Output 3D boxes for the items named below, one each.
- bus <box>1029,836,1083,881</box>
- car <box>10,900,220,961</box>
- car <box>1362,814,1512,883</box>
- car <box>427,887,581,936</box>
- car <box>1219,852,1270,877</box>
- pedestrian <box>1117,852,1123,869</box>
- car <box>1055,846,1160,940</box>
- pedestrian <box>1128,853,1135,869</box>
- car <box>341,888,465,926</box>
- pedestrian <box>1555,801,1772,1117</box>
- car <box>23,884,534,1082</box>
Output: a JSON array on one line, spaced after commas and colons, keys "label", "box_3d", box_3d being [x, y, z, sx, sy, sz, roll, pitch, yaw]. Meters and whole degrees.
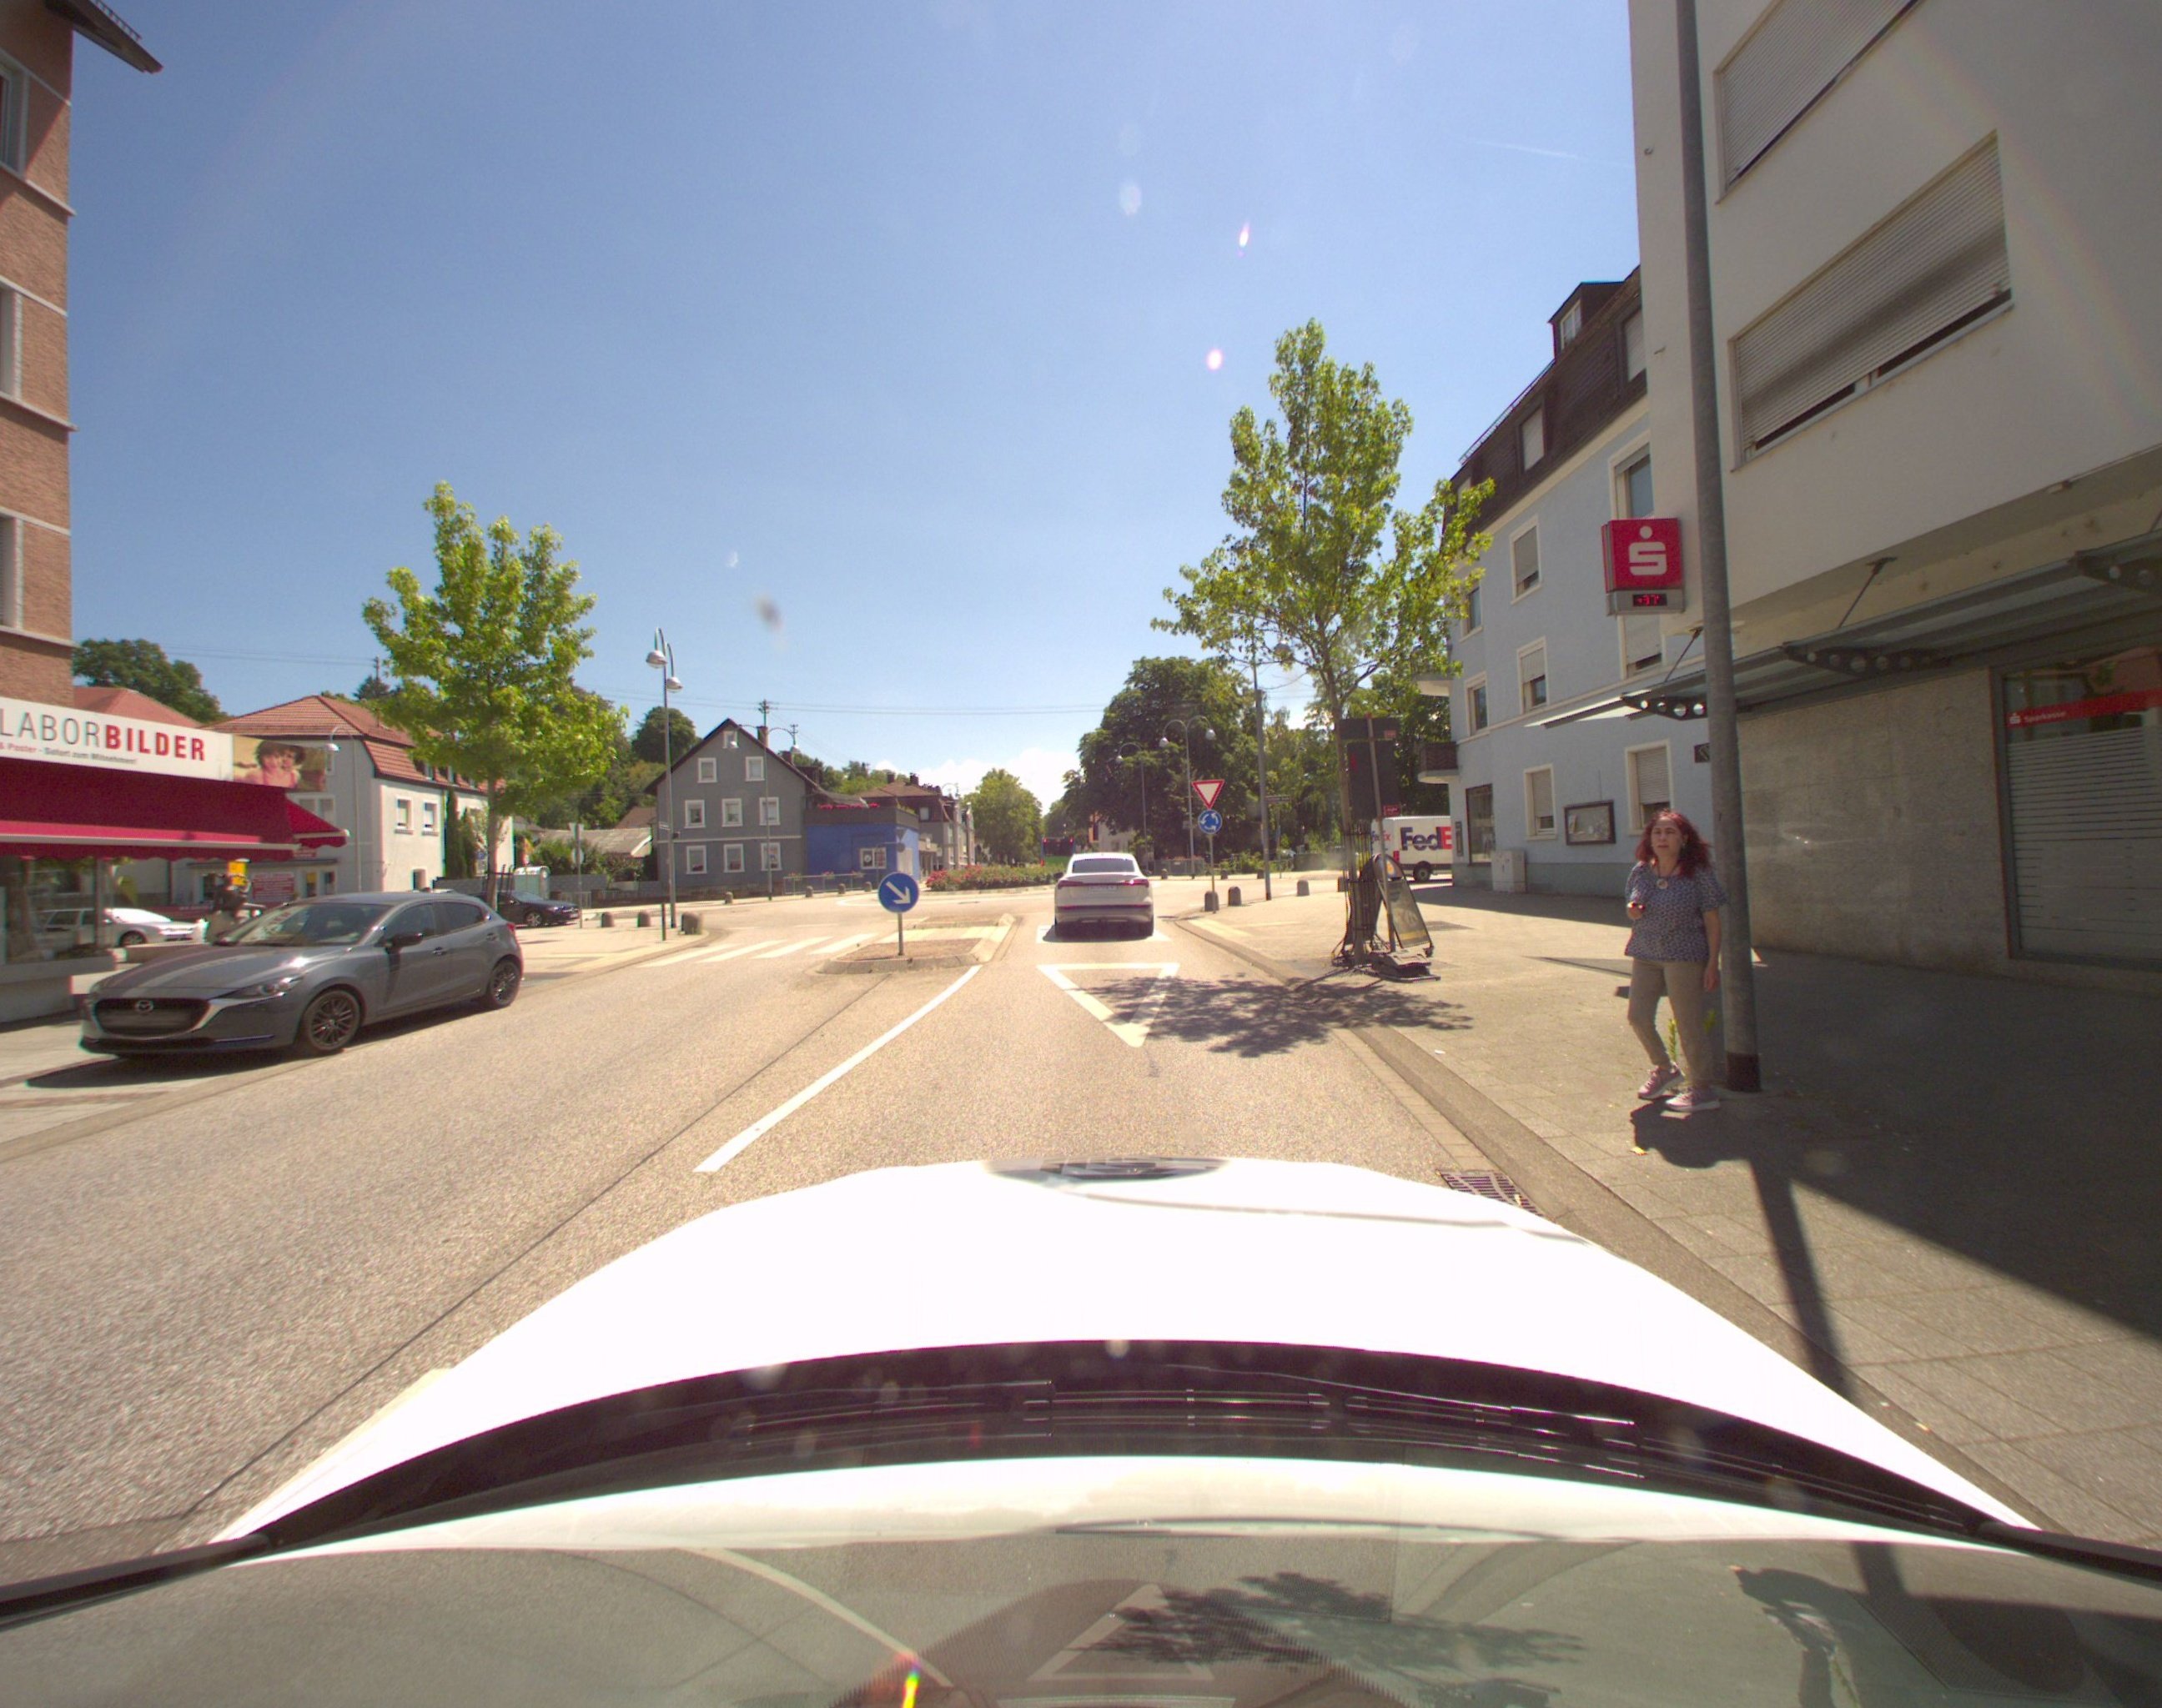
[{"label": "bus", "box_3d": [-1.724, 0.446, 66.274, 3.694, 3.171, 18.065, -1, -1, 0]}, {"label": "car", "box_3d": [-30.164, 2.356, 25.555, 3.986, 1.524, 1.791, -2, 0, -9]}, {"label": "car", "box_3d": [14.235, -0.271, 32.579, 5.478, 2.480, 1.989, -3, 2, -16]}, {"label": "car", "box_3d": [-20.824, 2.034, 29.650, 4.454, 1.457, 1.750, -2, -2, -32]}, {"label": "car", "box_3d": [11.254, 0.687, 56.123, 3.055, 1.552, 1.626, -3, 0, -15]}, {"label": "pedestrian", "box_3d": [3.896, 0.674, 81.760, 0.502, 1.650, 0.578, -2, 0, -7]}, {"label": "car", "box_3d": [0.456, 0.714, 16.980, 1.892, 1.662, 4.407, -1, 0, -1]}, {"label": "pedestrian", "box_3d": [5.041, 0.702, 81.546, 0.488, 1.522, 0.541, -2, 0, -7]}, {"label": "car", "box_3d": [-31.541, 2.454, 38.002, 4.077, 1.391, 1.599, -2, 2, -19]}, {"label": "pedestrian", "box_3d": [3.198, 0.545, 4.521, 0.730, 1.610, 0.559, -3, 0, 0]}, {"label": "car", "box_3d": [-7.950, 1.132, 8.743, 1.664, 1.486, 4.054, 0, 0, -5]}]
